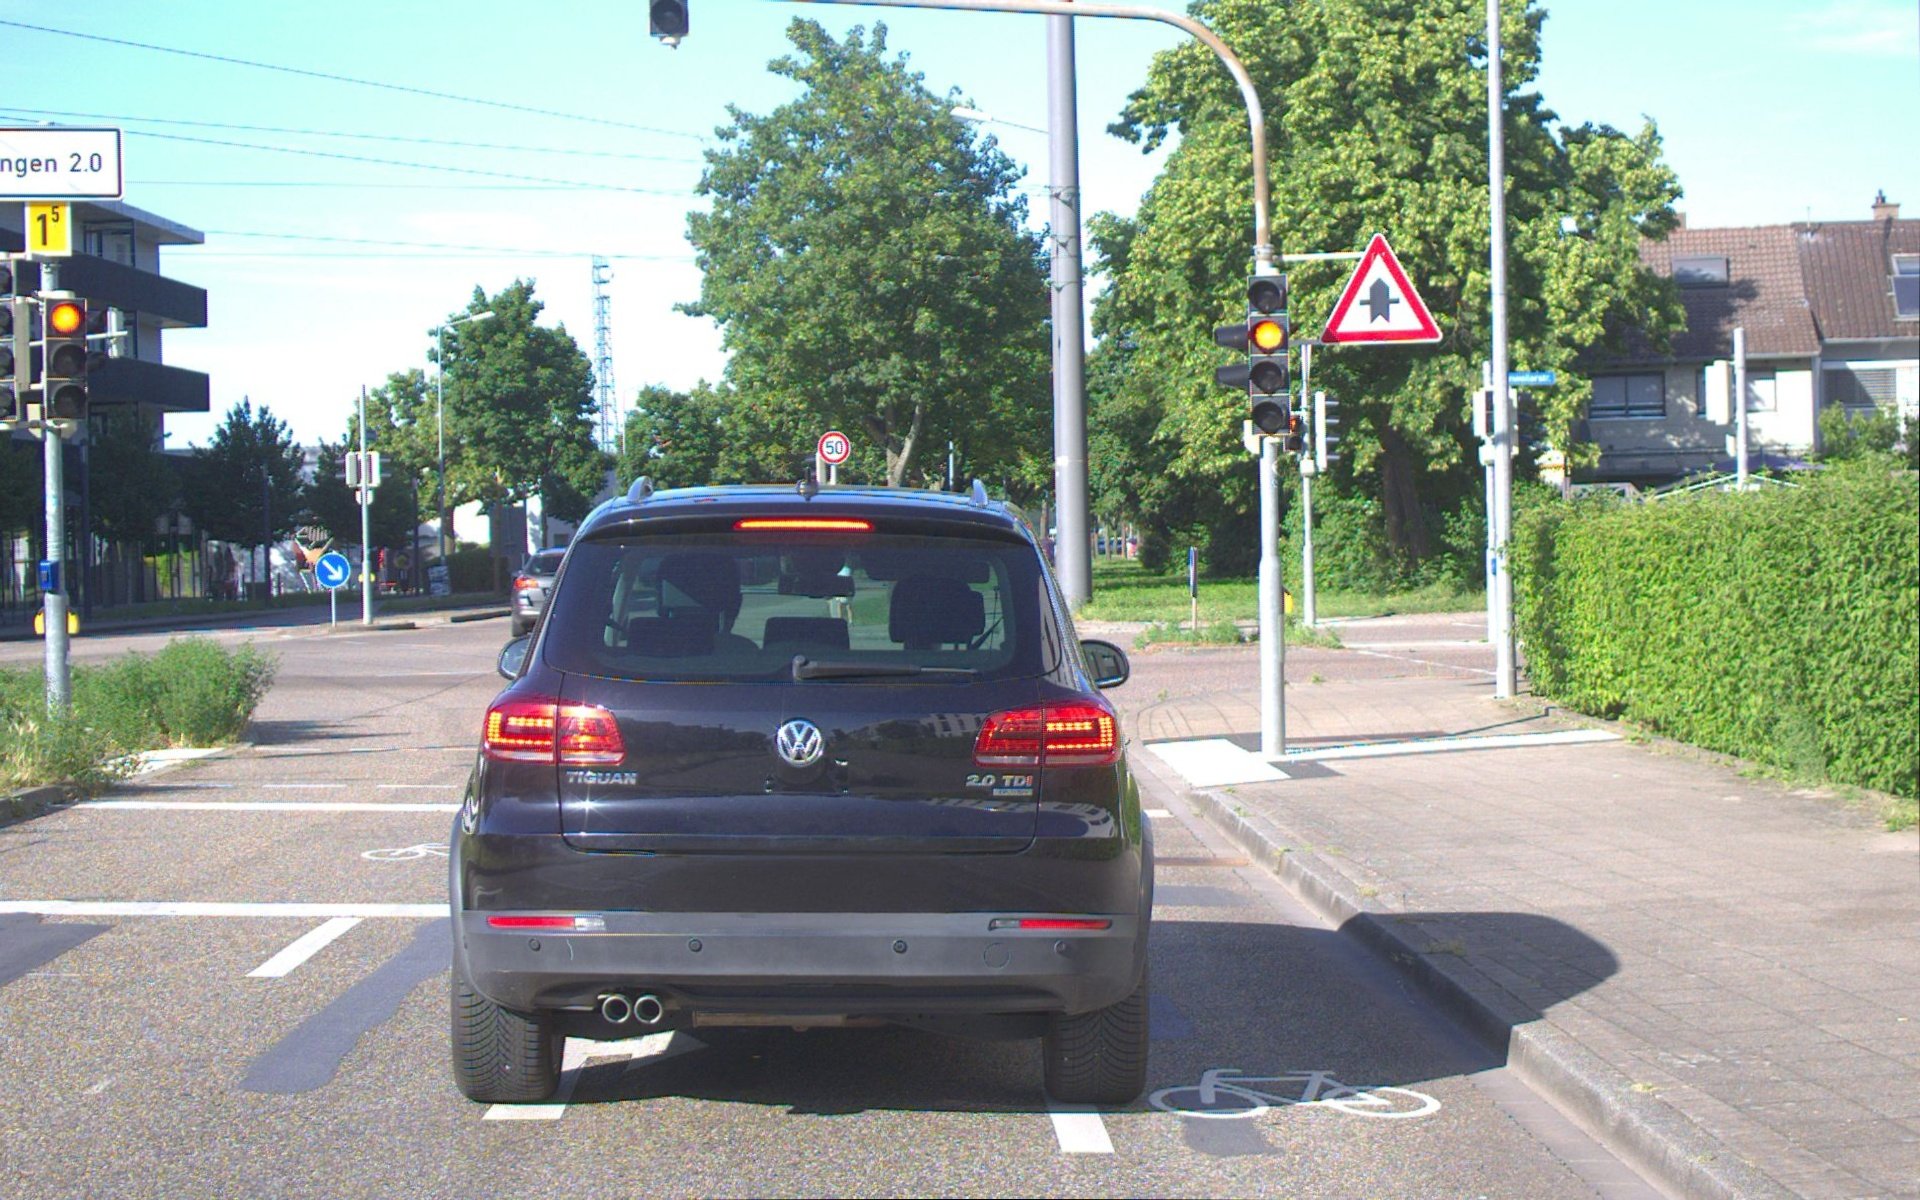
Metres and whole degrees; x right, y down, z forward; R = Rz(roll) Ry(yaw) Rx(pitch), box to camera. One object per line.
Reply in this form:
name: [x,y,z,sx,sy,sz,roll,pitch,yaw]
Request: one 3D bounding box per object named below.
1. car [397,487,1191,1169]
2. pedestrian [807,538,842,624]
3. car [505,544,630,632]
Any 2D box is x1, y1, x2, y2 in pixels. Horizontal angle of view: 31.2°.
car: [-0.469,0.504,10.272,1.905,1.637,4.001,0,1,-2]
pedestrian: [-2.482,-0.352,62.977,0.603,1.559,0.529,0,1,4]
car: [-6.473,-0.227,56.999,1.751,1.382,4.001,0,1,-2]
